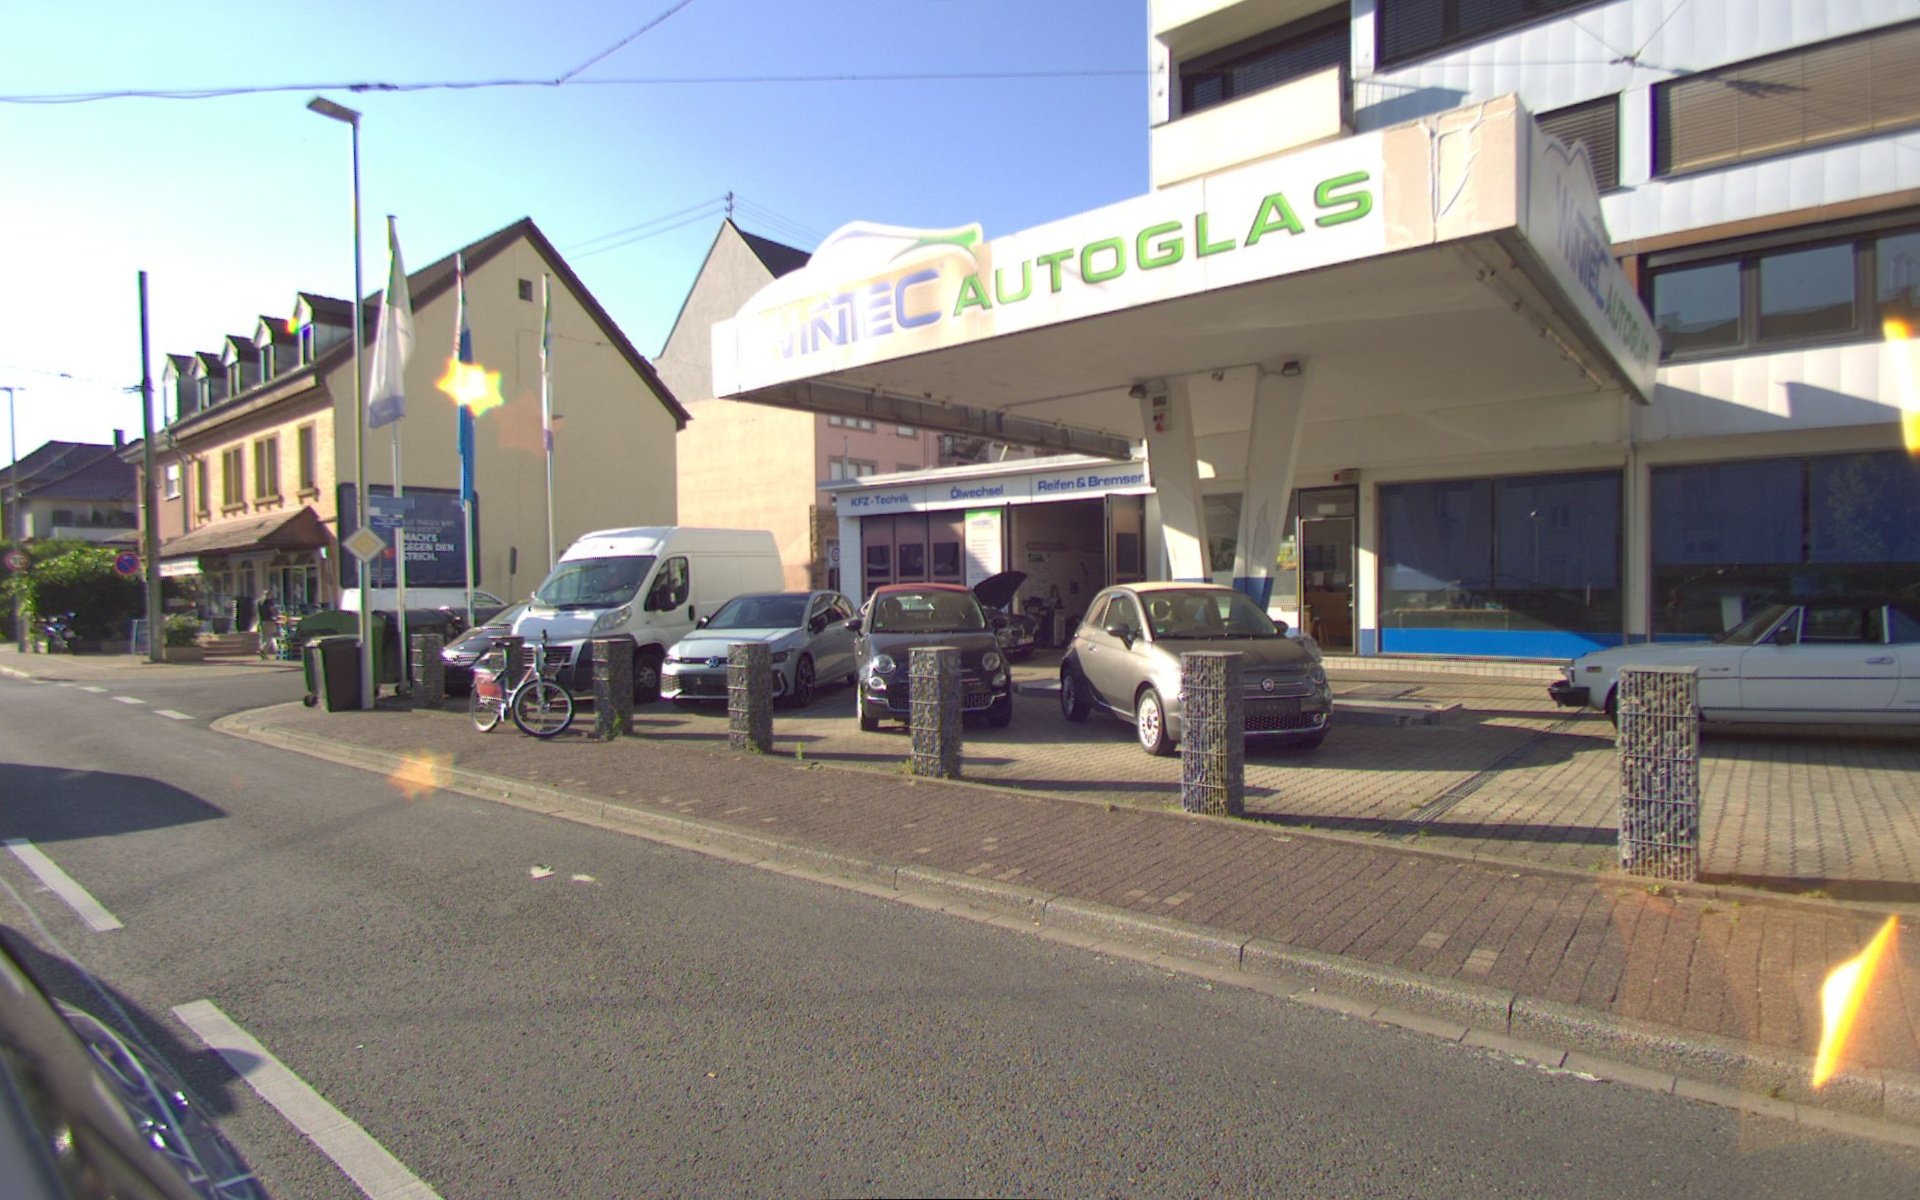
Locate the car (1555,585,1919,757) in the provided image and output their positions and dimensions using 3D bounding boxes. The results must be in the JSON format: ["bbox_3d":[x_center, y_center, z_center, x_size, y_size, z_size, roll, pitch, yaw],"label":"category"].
[{"bbox_3d":[7.387,0.549,8.571,3.898,1.308,1.506,-1,-1,37],"label":"car"}]

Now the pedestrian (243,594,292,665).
[{"bbox_3d":[-18.453,0.773,26.968,0.810,1.866,0.768,-1,0,-7],"label":"pedestrian"}]

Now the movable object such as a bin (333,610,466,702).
[{"bbox_3d":[-9.574,0.920,17.370,1.039,1.475,1.787,-1,0,15],"label":"movable object such as a bin"}]

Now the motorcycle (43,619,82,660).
[{"bbox_3d":[-27.964,1.209,31.530,2.186,1.226,0.699,-1,0,43],"label":"motorcycle"}]

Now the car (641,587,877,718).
[{"bbox_3d":[-2.529,0.594,13.805,1.725,1.508,4.016,-1,0,12],"label":"car"}]

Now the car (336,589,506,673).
[{"bbox_3d":[-13.890,0.744,26.253,1.449,2.029,3.628,-1,0,37],"label":"car"}]

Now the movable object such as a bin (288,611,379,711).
[{"bbox_3d":[-9.704,0.922,15.714,1.030,1.475,0.798,-1,0,-18],"label":"movable object such as a bin"}]

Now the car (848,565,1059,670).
[{"bbox_3d":[-0.204,0.327,20.920,4.255,1.958,1.720,-1,0,40],"label":"car"}]

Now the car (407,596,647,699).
[{"bbox_3d":[-7.060,0.709,17.009,1.725,1.488,4.016,-1,0,12],"label":"car"}]

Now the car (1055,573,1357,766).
[{"bbox_3d":[2.155,0.541,9.794,1.517,1.497,3.381,-1,0,-11],"label":"car"}]

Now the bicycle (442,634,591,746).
[{"bbox_3d":[-4.893,0.946,11.123,1.789,1.094,0.716,-1,1,37],"label":"bicycle"}]

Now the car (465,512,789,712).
[{"bbox_3d":[-4.685,0.137,15.224,2.098,2.472,4.963,-1,0,18],"label":"car"}]

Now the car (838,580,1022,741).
[{"bbox_3d":[-0.481,0.570,11.509,1.569,1.508,3.443,-1,0,-10],"label":"car"}]
